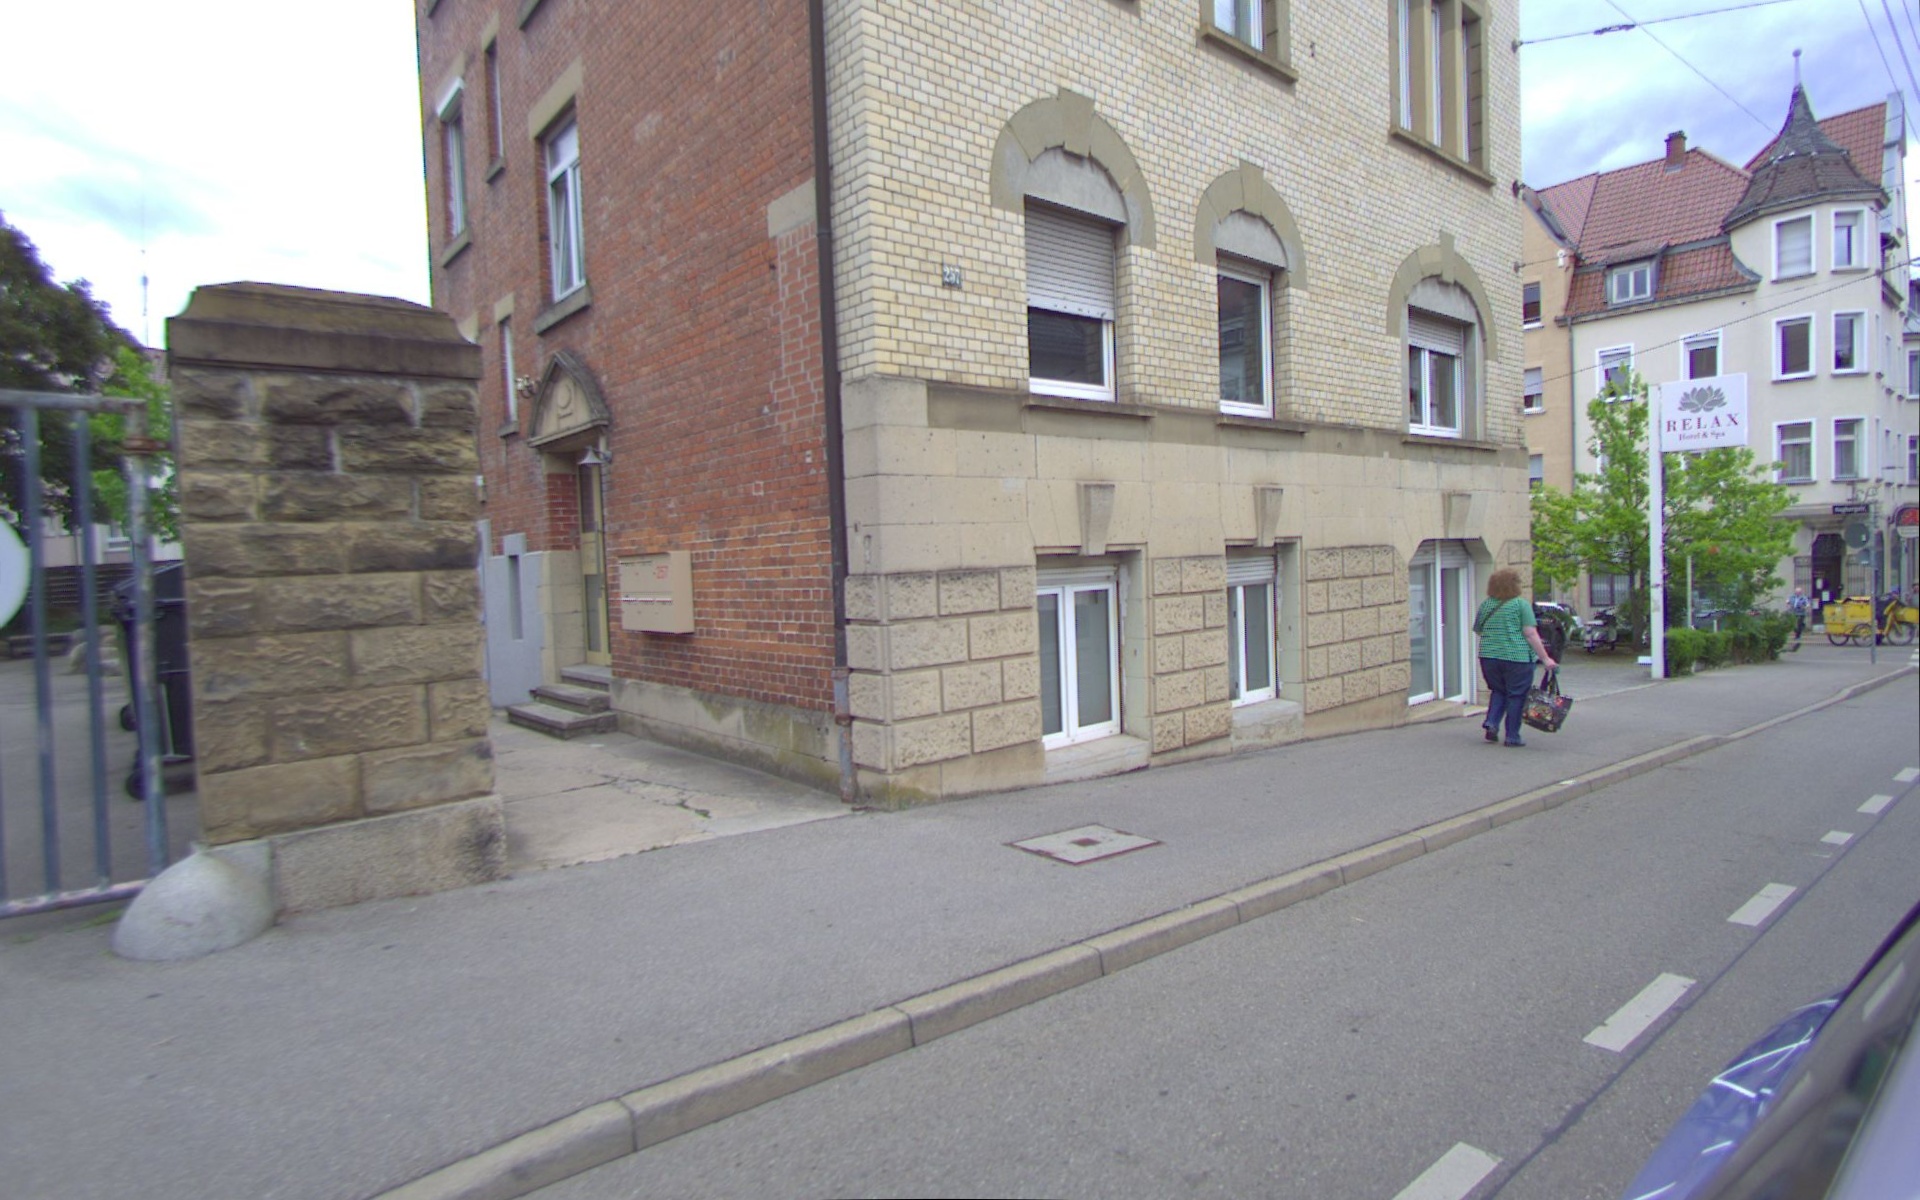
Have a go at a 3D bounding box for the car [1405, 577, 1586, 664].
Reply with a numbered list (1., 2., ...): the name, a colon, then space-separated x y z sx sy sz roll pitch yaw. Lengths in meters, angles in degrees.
1. car: 11.908 0.391 22.325 5.009 1.704 1.996 0 0 -43

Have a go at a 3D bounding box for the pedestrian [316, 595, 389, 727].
1. pedestrian: -6.979 0.680 11.626 0.634 1.462 0.500 0 -1 -43

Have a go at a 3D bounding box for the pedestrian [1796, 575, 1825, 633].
1. pedestrian: 26.370 0.126 31.383 0.482 1.790 0.485 0 -1 -7

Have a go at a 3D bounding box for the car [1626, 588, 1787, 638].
1. car: 23.595 0.409 32.081 1.553 1.482 3.851 0 -1 -42

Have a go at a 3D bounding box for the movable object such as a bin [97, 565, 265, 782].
1. movable object such as a bin: -6.085 0.519 7.903 0.979 1.533 1.077 0 0 -41

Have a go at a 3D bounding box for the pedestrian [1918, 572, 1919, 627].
1. pedestrian: 32.216 -0.015 33.549 0.621 1.826 0.600 0 0 -41

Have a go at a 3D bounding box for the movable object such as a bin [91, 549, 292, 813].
1. movable object such as a bin: -5.027 0.466 6.622 0.979 1.533 1.077 0 0 -41

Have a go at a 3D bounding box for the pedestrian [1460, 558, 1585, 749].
1. pedestrian: 5.341 0.465 9.614 0.870 1.707 0.653 2 2 43

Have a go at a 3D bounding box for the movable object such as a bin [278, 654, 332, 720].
1. movable object such as a bin: -8.327 1.092 12.872 0.518 0.768 0.496 0 0 -41

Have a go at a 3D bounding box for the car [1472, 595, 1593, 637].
1. car: 20.387 0.568 36.093 1.553 1.406 3.437 0 -1 -42

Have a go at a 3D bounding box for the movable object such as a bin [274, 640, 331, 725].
1. movable object such as a bin: -8.041 0.994 12.371 0.518 0.967 0.553 0 0 -41

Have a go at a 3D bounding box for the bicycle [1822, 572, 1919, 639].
1. bicycle: 26.699 0.157 29.116 2.678 1.890 1.182 -1 -1 2
